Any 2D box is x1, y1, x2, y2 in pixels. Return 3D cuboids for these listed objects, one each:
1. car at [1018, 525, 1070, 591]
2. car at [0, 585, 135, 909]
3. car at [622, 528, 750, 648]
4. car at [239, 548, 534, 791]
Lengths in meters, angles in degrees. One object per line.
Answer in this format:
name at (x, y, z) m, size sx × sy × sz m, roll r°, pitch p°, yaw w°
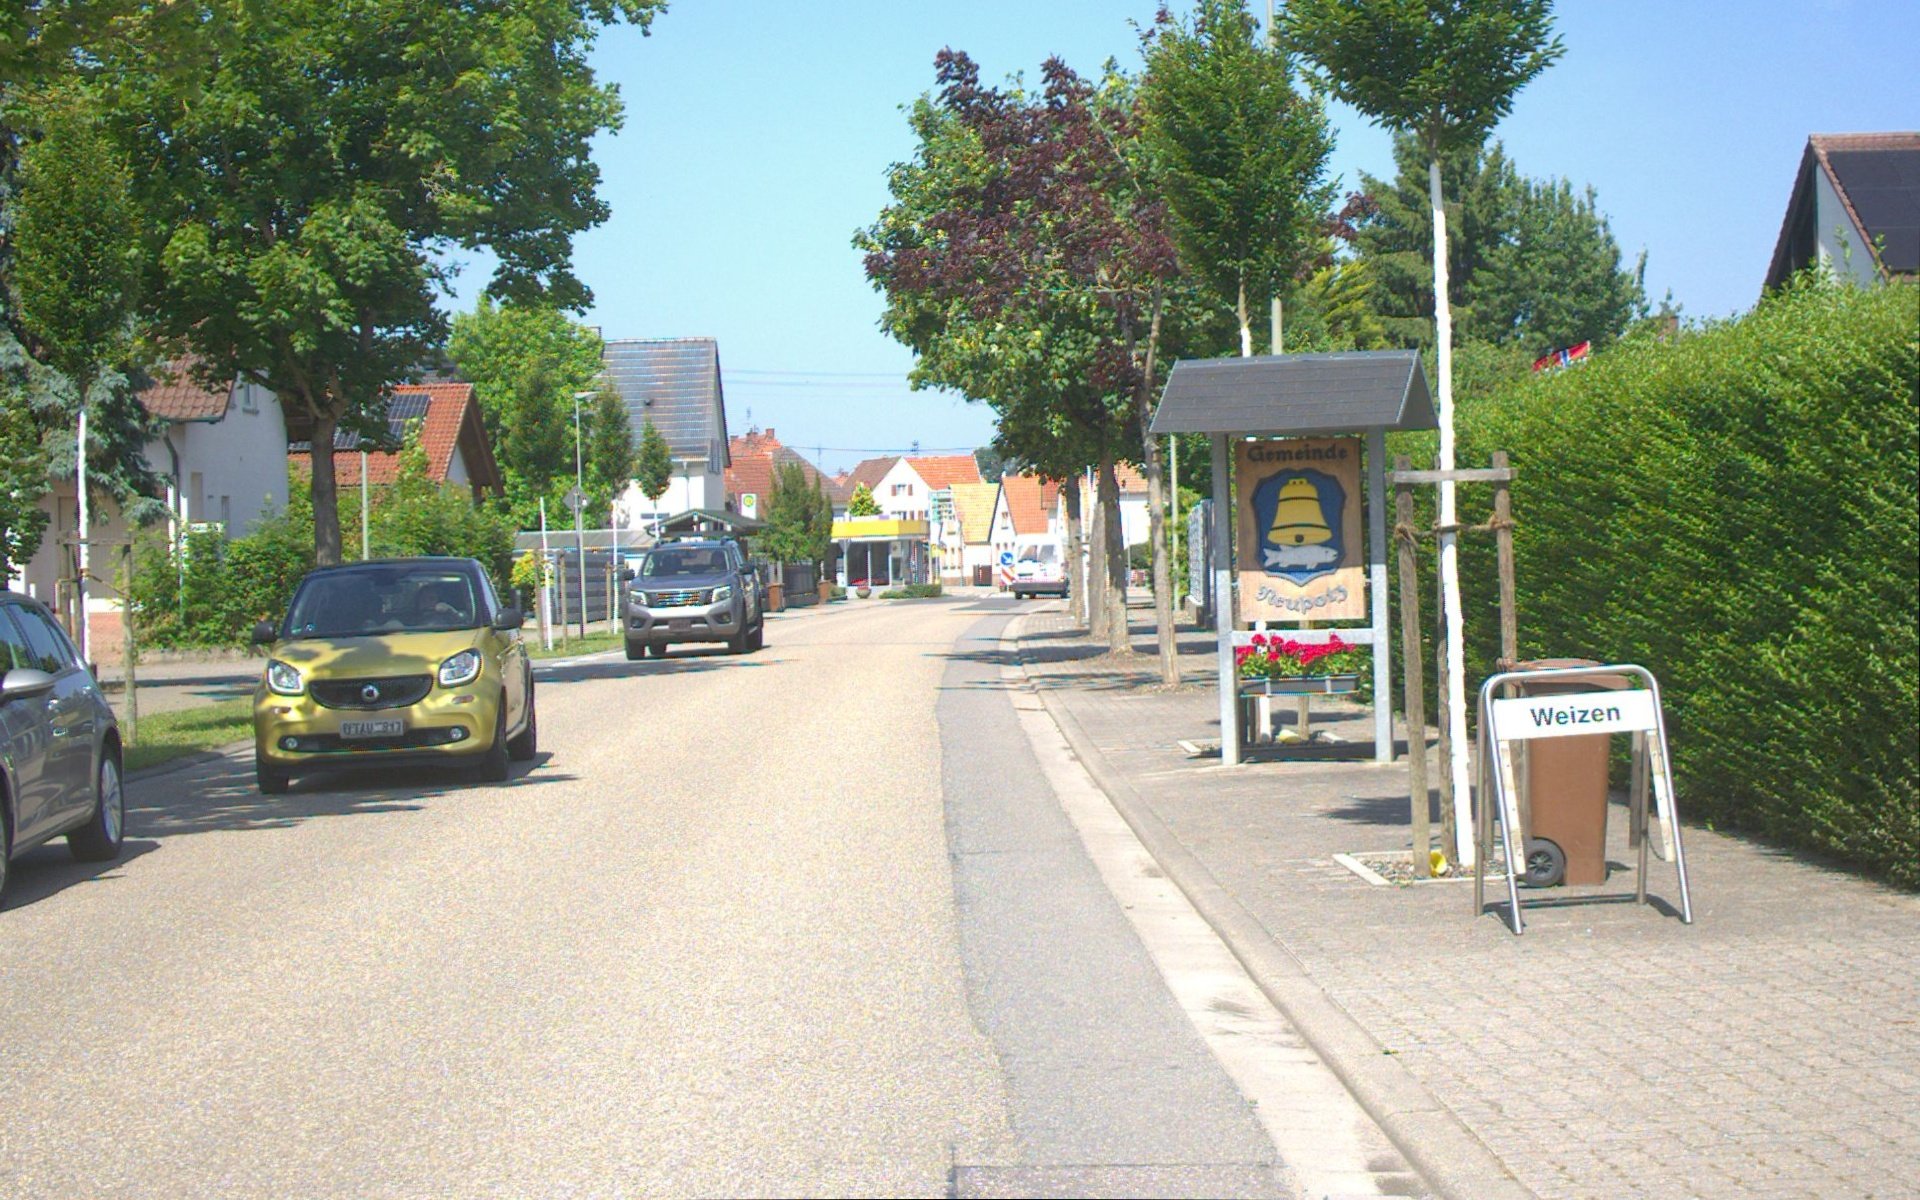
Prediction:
car at (3.248, -1.631, 132.180) m, size 1.738 × 2.424 × 4.374 m, roll -2°, pitch 1°, yaw 4°
car at (-5.196, 0.705, 16.397) m, size 1.647 × 1.419 × 4.081 m, roll -4°, pitch 1°, yaw -3°
car at (-4.256, -0.217, 53.873) m, size 1.835 × 1.747 × 3.796 m, roll -2°, pitch 1°, yaw -3°
car at (-3.970, 0.434, 24.266) m, size 1.665 × 1.519 × 3.443 m, roll -2°, pitch 1°, yaw -4°
